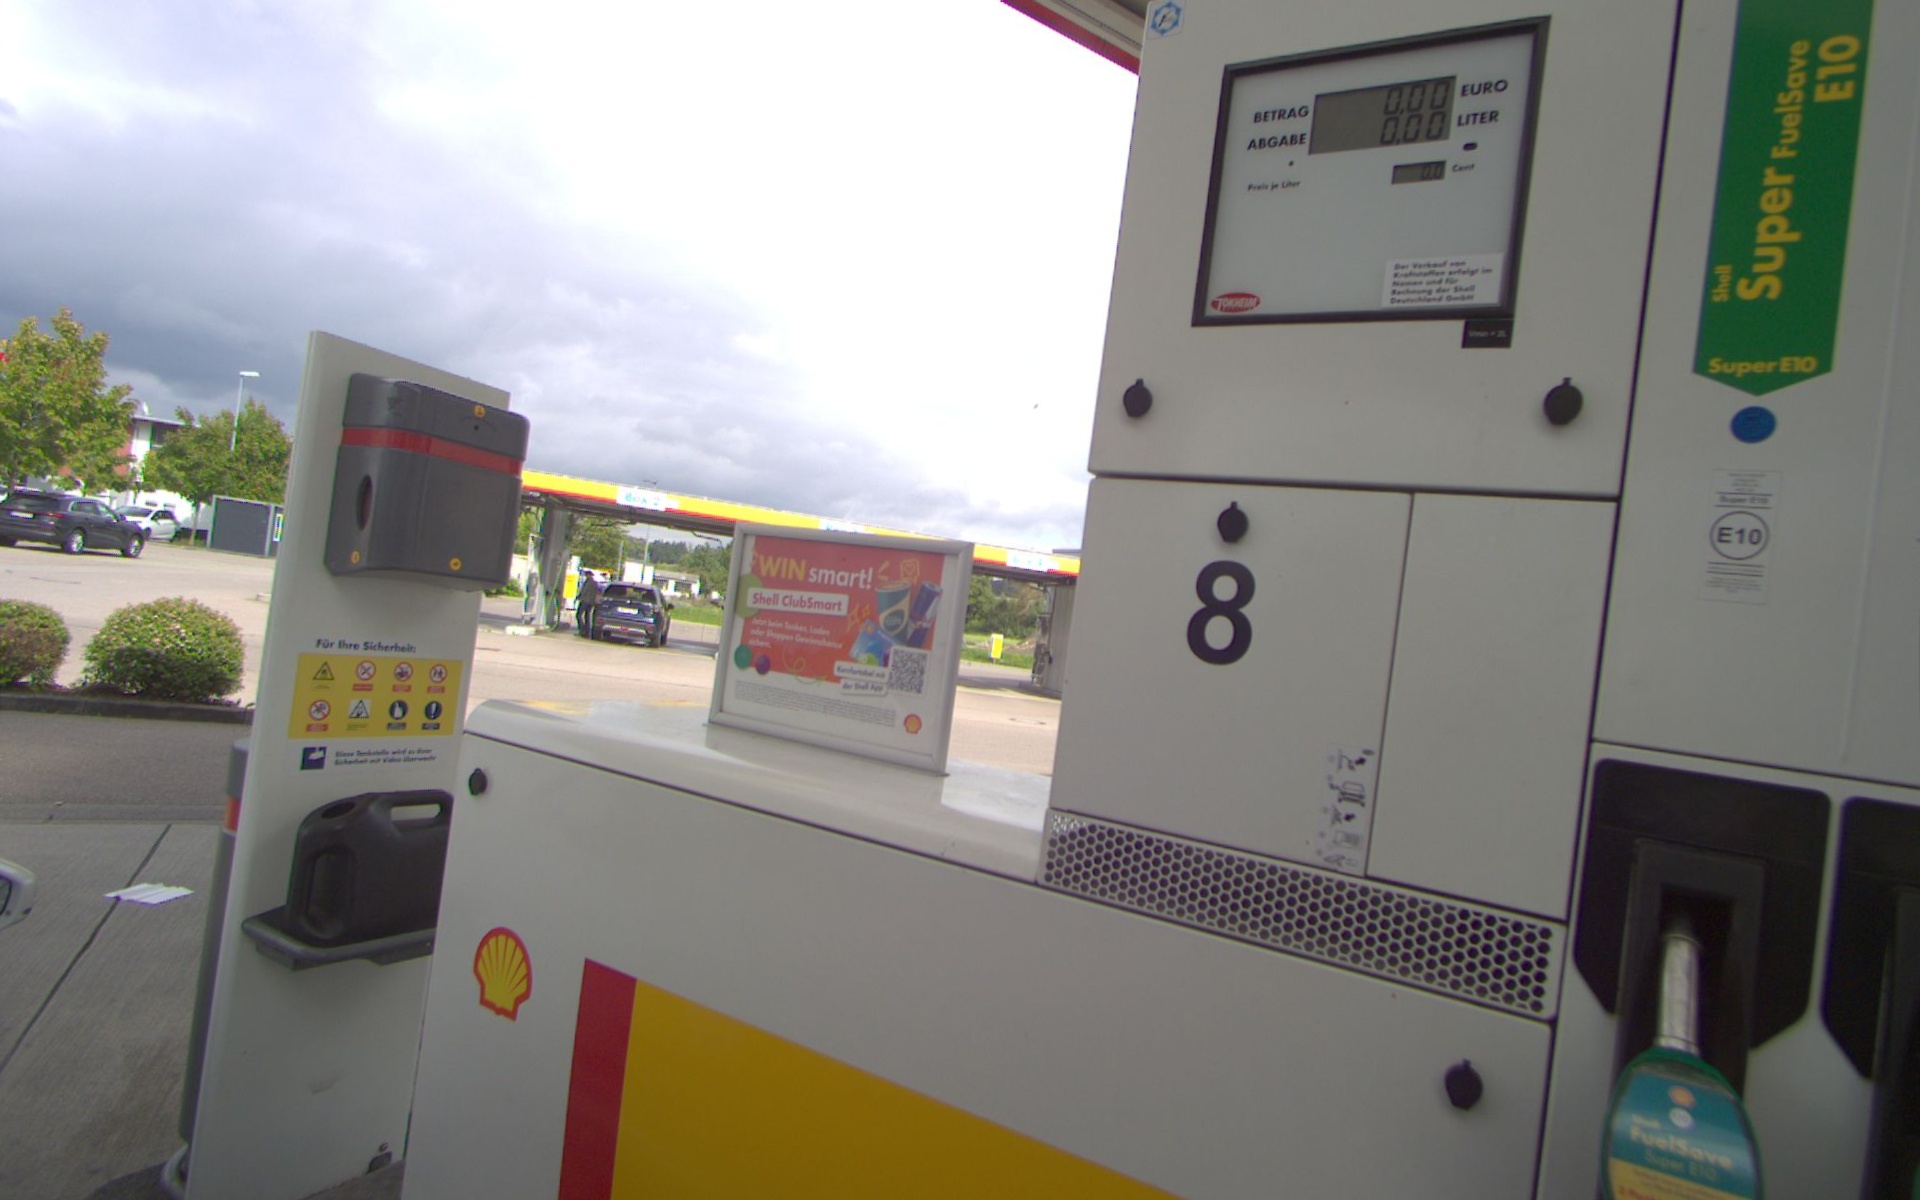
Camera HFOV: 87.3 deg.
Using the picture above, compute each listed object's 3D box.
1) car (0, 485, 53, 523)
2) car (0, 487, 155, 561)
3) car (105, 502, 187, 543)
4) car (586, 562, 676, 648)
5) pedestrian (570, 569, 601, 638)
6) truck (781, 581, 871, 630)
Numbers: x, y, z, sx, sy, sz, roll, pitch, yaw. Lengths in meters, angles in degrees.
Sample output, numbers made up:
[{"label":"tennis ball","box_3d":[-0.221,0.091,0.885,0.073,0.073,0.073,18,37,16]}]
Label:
[{"label":"car","box_3d":[-57.360,-5.909,60.251,2.149,1.854,4.870,8,-2,-11]},{"label":"car","box_3d":[-25.929,-2.170,29.270,1.855,1.566,4.498,8,-2,-10]},{"label":"car","box_3d":[-35.259,-3.343,43.655,1.346,1.322,3.098,8,-2,-12]},{"label":"car","box_3d":[-8.698,0.150,26.872,1.696,1.919,3.800,8,-2,-12]},{"label":"pedestrian","box_3d":[-9.801,0.093,26.296,0.550,1.742,0.526,7,-1,-21]},{"label":"truck","box_3d":[-13.017,0.558,97.516,7.978,3.575,2.687,8,-2,-19]}]
